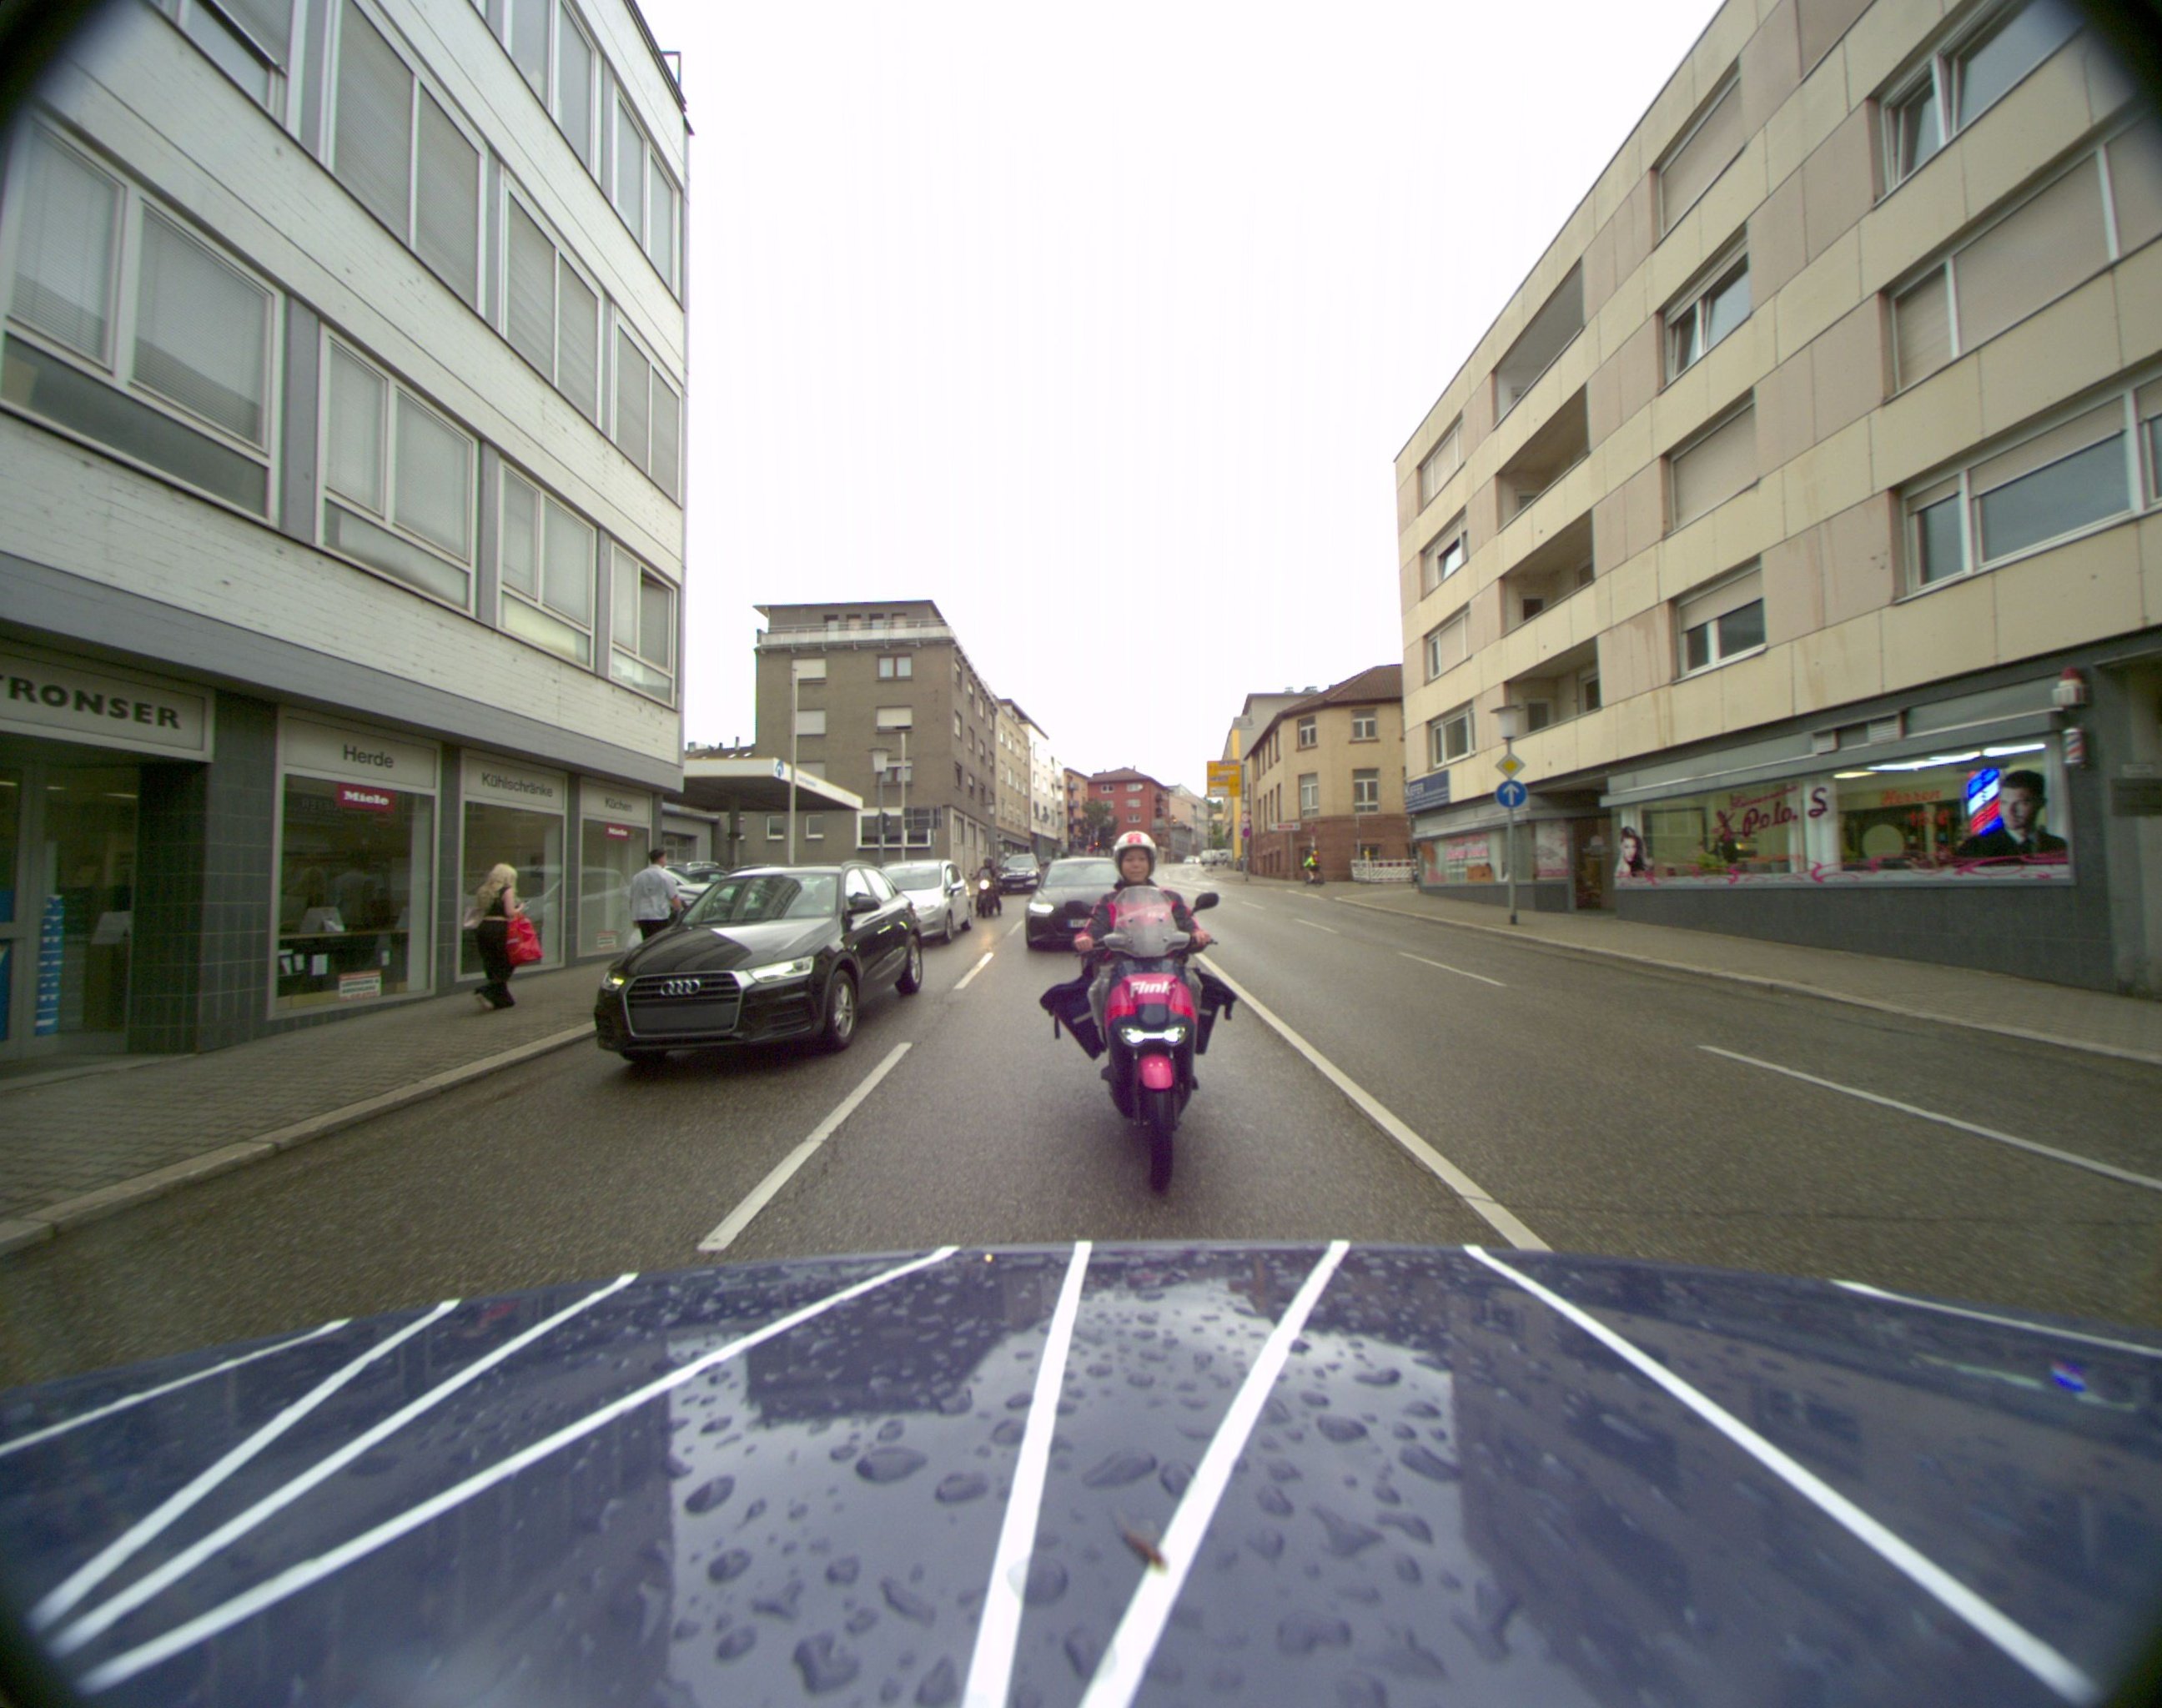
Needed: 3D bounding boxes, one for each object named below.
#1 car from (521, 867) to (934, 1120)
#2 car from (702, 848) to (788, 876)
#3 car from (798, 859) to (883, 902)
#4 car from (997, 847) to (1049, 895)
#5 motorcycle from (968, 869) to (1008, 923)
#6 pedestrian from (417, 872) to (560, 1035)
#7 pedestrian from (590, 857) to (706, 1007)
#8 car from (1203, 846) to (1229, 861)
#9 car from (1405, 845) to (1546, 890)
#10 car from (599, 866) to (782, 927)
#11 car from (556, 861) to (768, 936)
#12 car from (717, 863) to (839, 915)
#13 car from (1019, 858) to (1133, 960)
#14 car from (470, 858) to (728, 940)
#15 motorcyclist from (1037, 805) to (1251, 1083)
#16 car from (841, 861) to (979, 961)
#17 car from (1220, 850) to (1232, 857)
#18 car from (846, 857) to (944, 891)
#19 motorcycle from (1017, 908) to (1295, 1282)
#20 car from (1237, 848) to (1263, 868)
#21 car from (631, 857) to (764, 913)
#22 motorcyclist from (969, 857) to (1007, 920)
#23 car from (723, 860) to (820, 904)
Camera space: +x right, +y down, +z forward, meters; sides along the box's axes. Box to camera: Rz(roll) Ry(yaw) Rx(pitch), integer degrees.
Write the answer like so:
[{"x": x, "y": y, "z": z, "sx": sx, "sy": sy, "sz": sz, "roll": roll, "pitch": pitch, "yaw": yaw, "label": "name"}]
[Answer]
[{"x": -2.831, "y": 0.996, "z": 7.312, "sx": 1.827, "sy": 1.551, "sz": 4.201, "roll": -4, "pitch": 0, "yaw": 2, "label": "car"}, {"x": -17.764, "y": 0.432, "z": 40.309, "sx": 3.751, "sy": 1.445, "sz": 1.795, "roll": 0, "pitch": -1, "yaw": 3, "label": "car"}, {"x": -9.349, "y": 0.993, "z": 29.976, "sx": 1.793, "sy": 1.503, "sz": 4.437, "roll": -1, "pitch": 0, "yaw": 2, "label": "car"}, {"x": -2.422, "y": 0.667, "z": 32.575, "sx": 1.848, "sy": 1.893, "sz": 3.765, "roll": -1, "pitch": 1, "yaw": 1, "label": "car"}, {"x": -2.423, "y": 1.065, "z": 20.076, "sx": 0.847, "sy": 1.219, "sz": 2.372, "roll": -4, "pitch": 1, "yaw": -4, "label": "motorcycle"}, {"x": -6.054, "y": 0.979, "z": 7.812, "sx": 0.767, "sy": 1.542, "sz": 0.890, "roll": 2, "pitch": 1, "yaw": -2, "label": "pedestrian"}, {"x": -5.278, "y": 0.904, "z": 9.332, "sx": 0.786, "sy": 1.696, "sz": 1.120, "roll": 2, "pitch": 1, "yaw": -2, "label": "pedestrian"}, {"x": 16.487, "y": -0.037, "z": 92.547, "sx": 1.862, "sy": 1.793, "sz": 4.274, "roll": 1, "pitch": 1, "yaw": 29, "label": "car"}, {"x": 14.829, "y": 0.515, "z": 28.784, "sx": 4.358, "sy": 1.495, "sz": 1.755, "roll": -2, "pitch": 0, "yaw": 11, "label": "car"}, {"x": -10.217, "y": 1.078, "z": 20.175, "sx": 4.001, "sy": 1.393, "sz": 1.669, "roll": -1, "pitch": 1, "yaw": -13, "label": "car"}, {"x": -9.660, "y": 0.987, "z": 17.860, "sx": 4.002, "sy": 1.521, "sz": 1.761, "roll": -1, "pitch": 1, "yaw": -15, "label": "car"}, {"x": -9.430, "y": 1.020, "z": 24.109, "sx": 1.792, "sy": 1.407, "sz": 4.616, "roll": 0, "pitch": 0, "yaw": 4, "label": "car"}, {"x": 0.044, "y": 0.875, "z": 13.985, "sx": 1.705, "sy": 1.452, "sz": 4.319, "roll": -3, "pitch": 0, "yaw": 3, "label": "car"}, {"x": -9.483, "y": 0.889, "z": 15.329, "sx": 4.003, "sy": 1.442, "sz": 1.796, "roll": 2, "pitch": 0, "yaw": -16, "label": "car"}, {"x": 0.345, "y": 0.467, "z": 4.314, "sx": 1.010, "sy": 1.373, "sz": 0.835, "roll": -4, "pitch": 1, "yaw": 3, "label": "motorcyclist"}, {"x": -3.204, "y": 0.990, "z": 15.096, "sx": 1.831, "sy": 1.532, "sz": 4.251, "roll": -4, "pitch": 0, "yaw": -2, "label": "car"}, {"x": 27.867, "y": -0.098, "z": 146.183, "sx": 1.860, "sy": 1.445, "sz": 4.323, "roll": 0, "pitch": 0, "yaw": 16, "label": "car"}, {"x": -9.702, "y": 1.045, "z": 39.902, "sx": 4.531, "sy": 1.495, "sz": 2.001, "roll": -3, "pitch": 0, "yaw": 5, "label": "car"}, {"x": 0.361, "y": 1.045, "z": 4.321, "sx": 1.010, "sy": 1.218, "sz": 2.694, "roll": -4, "pitch": 0, "yaw": 3, "label": "motorcycle"}, {"x": 13.822, "y": 0.325, "z": 62.249, "sx": 1.861, "sy": 1.445, "sz": 3.966, "roll": -4, "pitch": -1, "yaw": 11, "label": "car"}, {"x": -12.001, "y": 0.932, "z": 24.164, "sx": 1.792, "sy": 1.535, "sz": 4.493, "roll": 3, "pitch": -1, "yaw": 2, "label": "car"}, {"x": -2.453, "y": 0.889, "z": 20.163, "sx": 0.847, "sy": 1.580, "sz": 0.962, "roll": -4, "pitch": 1, "yaw": -4, "label": "motorcyclist"}, {"x": -11.896, "y": 1.054, "z": 29.570, "sx": 1.792, "sy": 1.502, "sz": 4.420, "roll": 3, "pitch": -1, "yaw": 2, "label": "car"}]
